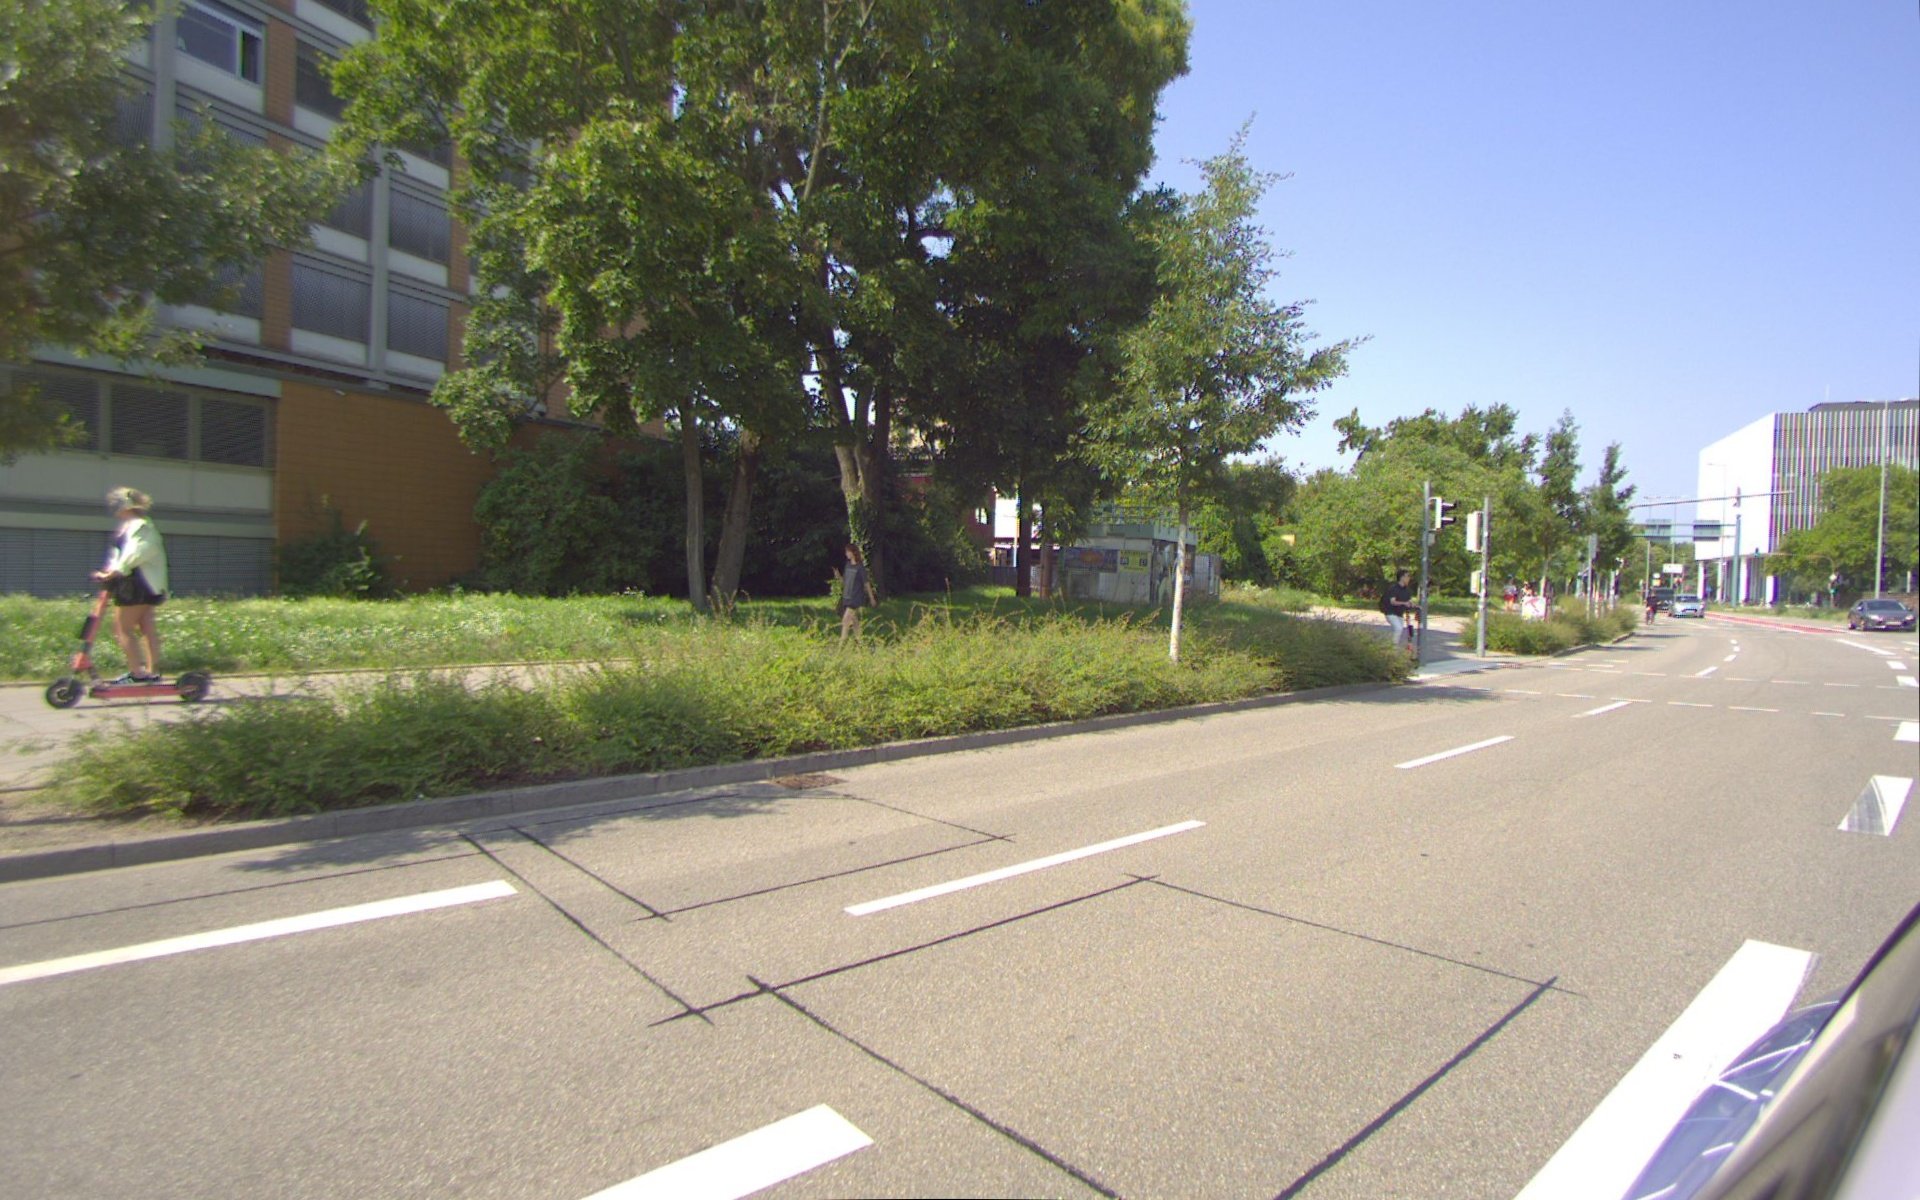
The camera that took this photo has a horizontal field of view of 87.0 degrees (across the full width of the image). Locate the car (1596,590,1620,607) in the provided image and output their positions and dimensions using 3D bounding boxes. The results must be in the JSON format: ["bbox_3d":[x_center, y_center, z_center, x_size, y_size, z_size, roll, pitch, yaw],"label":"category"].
[{"bbox_3d":[71.233,-0.157,111.364,1.984,1.801,3.957,2,2,30],"label":"car"}]

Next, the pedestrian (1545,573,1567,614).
[{"bbox_3d":[26.937,-0.315,45.737,0.788,1.790,0.817,3,2,31],"label":"pedestrian"}]

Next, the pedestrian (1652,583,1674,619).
[{"bbox_3d":[34.145,0.026,49.148,0.775,1.689,0.543,3,2,32],"label":"pedestrian"}]

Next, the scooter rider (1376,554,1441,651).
[{"bbox_3d":[8.400,0.035,18.982,0.674,1.761,0.807,1,2,-23],"label":"scooter rider"}]

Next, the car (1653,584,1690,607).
[{"bbox_3d":[56.846,-0.380,80.888,1.984,1.801,3.957,2,2,30],"label":"car"}]

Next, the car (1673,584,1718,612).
[{"bbox_3d":[49.247,-0.164,67.866,1.984,1.699,3.957,2,2,30],"label":"car"}]

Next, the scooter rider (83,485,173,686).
[{"bbox_3d":[-7.442,-0.147,9.047,0.670,1.720,0.531,5,3,43],"label":"scooter rider"}]

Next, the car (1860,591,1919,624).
[{"bbox_3d":[41.247,0.302,44.520,1.777,1.374,3.388,1,1,30],"label":"car"}]

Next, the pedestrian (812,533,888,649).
[{"bbox_3d":[-1.726,-0.153,15.859,0.706,1.725,0.865,5,4,43],"label":"pedestrian"}]

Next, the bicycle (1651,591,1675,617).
[{"bbox_3d":[34.205,0.189,49.266,0.780,1.227,1.770,3,2,31],"label":"bicycle"}]

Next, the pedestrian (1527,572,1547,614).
[{"bbox_3d":[25.254,-0.294,44.315,0.689,1.793,0.581,3,2,32],"label":"pedestrian"}]

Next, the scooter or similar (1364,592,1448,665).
[{"bbox_3d":[8.339,0.516,18.967,0.573,1.249,1.371,1,3,-23],"label":"scooter or similar"}]

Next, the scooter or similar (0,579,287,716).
[{"bbox_3d":[-7.348,0.373,9.206,0.556,1.072,1.973,6,5,43],"label":"scooter or similar"}]

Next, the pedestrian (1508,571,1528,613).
[{"bbox_3d":[24.563,-0.345,44.546,0.689,1.793,0.581,3,2,32],"label":"pedestrian"}]
